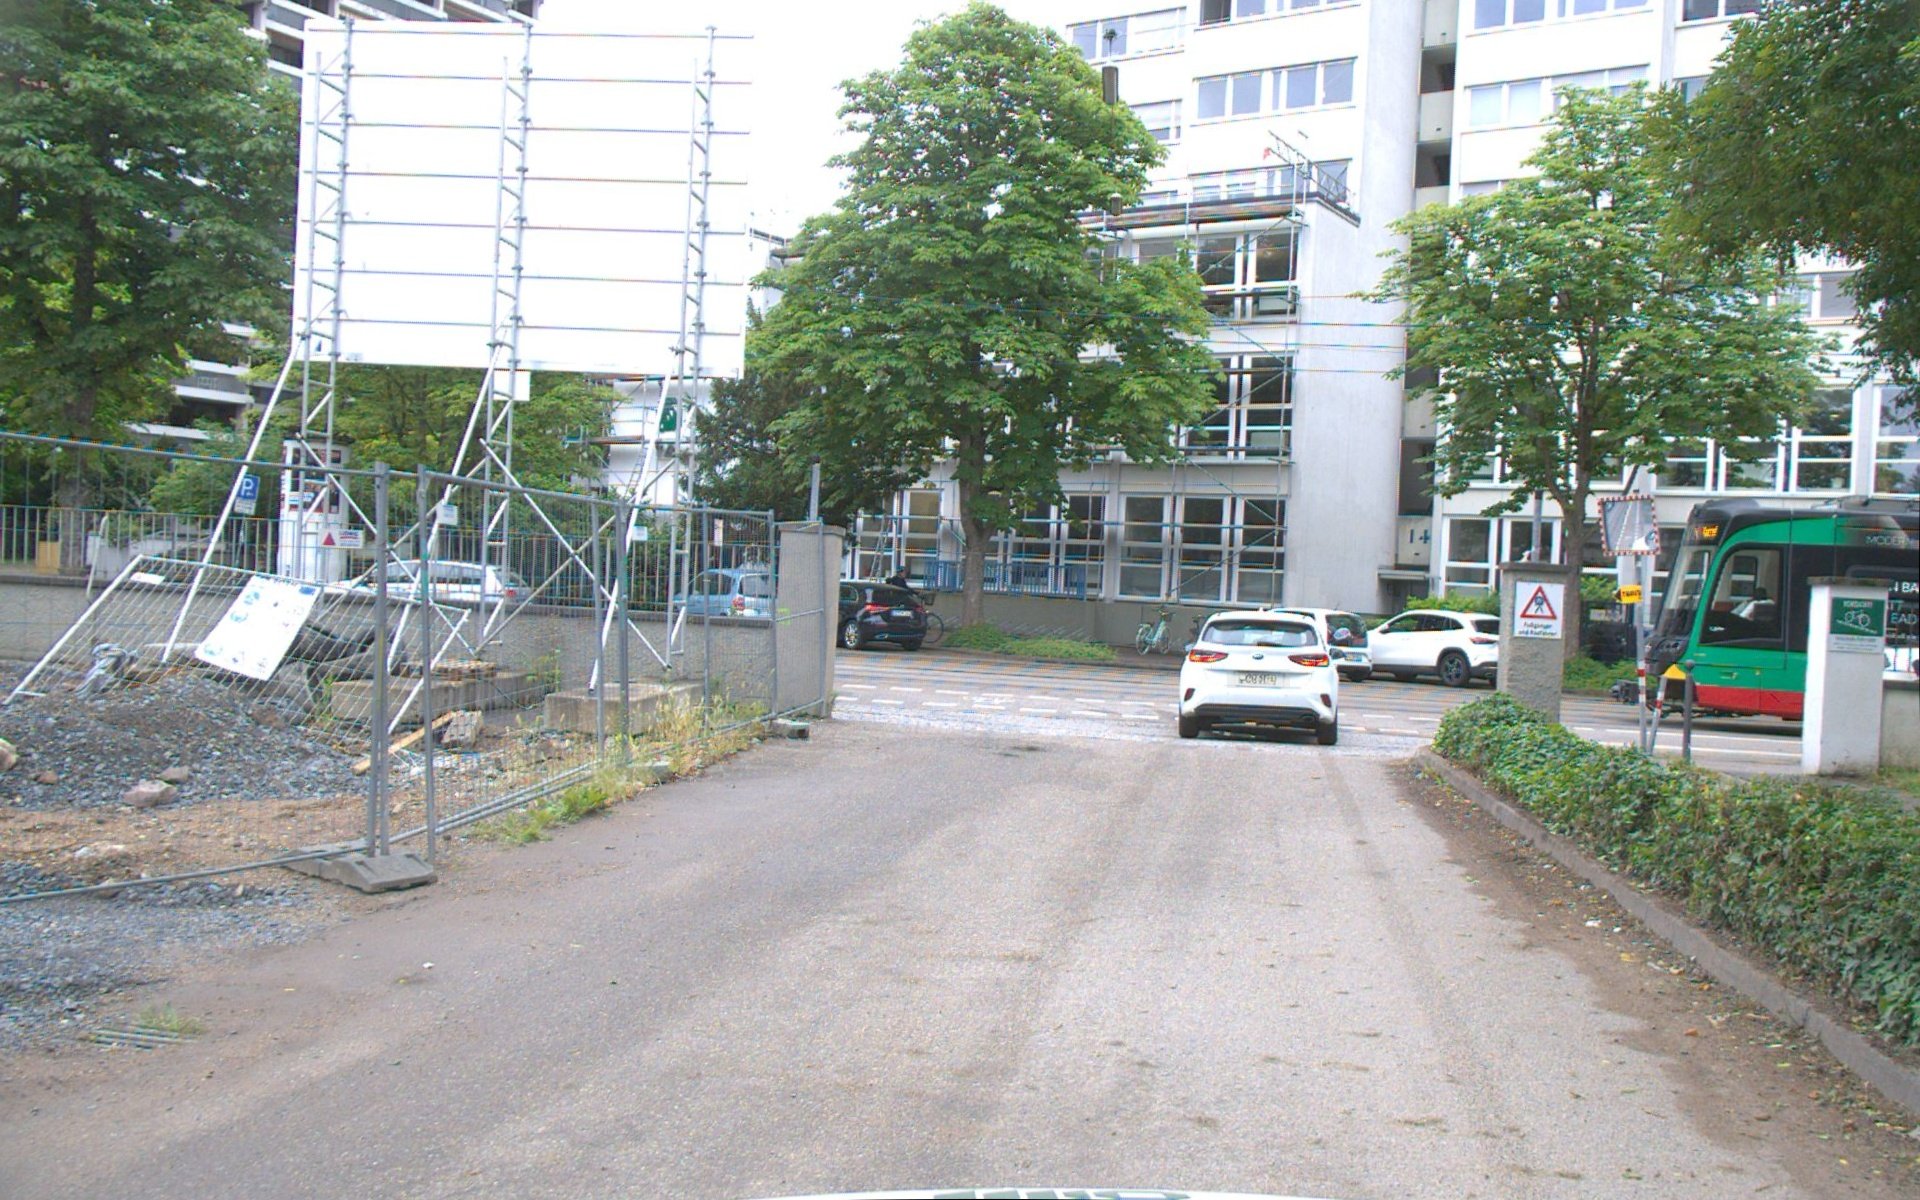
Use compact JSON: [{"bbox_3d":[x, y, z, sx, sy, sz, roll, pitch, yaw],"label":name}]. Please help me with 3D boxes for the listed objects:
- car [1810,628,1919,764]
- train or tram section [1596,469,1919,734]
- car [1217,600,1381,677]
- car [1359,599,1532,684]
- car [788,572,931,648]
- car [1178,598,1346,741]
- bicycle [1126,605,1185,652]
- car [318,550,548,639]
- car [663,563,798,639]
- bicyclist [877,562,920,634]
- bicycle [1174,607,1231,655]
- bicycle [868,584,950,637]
[{"bbox_3d":[12.455,1.214,19.948,3.506,1.527,1.667,3,0,8],"label":"car"},{"bbox_3d":[16.285,0.189,24.862,12.154,3.677,2.670,3,0,7],"label":"train or tram section"},{"bbox_3d":[7.325,0.812,35.971,1.538,1.499,3.368,2,0,-34],"label":"car"},{"bbox_3d":[10.489,0.876,35.886,1.538,1.646,3.368,2,0,-34],"label":"car"},{"bbox_3d":[-2.281,0.208,36.936,1.601,1.537,3.293,2,0,-37],"label":"car"},{"bbox_3d":[3.674,0.828,19.814,1.738,1.458,3.981,2,-2,12],"label":"car"},{"bbox_3d":[5.066,0.730,42.762,0.632,1.093,2.308,3,3,29],"label":"bicycle"},{"bbox_3d":[-10.407,-0.111,32.788,3.902,1.545,1.732,3,0,8],"label":"car"},{"bbox_3d":[-5.196,0.006,37.202,1.601,1.564,3.294,2,0,-37],"label":"car"},{"bbox_3d":[-1.523,-0.056,40.875,0.875,1.727,0.835,3,0,6],"label":"bicyclist"},{"bbox_3d":[6.189,0.778,42.072,0.632,1.093,2.308,3,3,29],"label":"bicycle"},{"bbox_3d":[-1.248,0.249,40.852,1.869,1.194,0.822,3,0,6],"label":"bicycle"}]
